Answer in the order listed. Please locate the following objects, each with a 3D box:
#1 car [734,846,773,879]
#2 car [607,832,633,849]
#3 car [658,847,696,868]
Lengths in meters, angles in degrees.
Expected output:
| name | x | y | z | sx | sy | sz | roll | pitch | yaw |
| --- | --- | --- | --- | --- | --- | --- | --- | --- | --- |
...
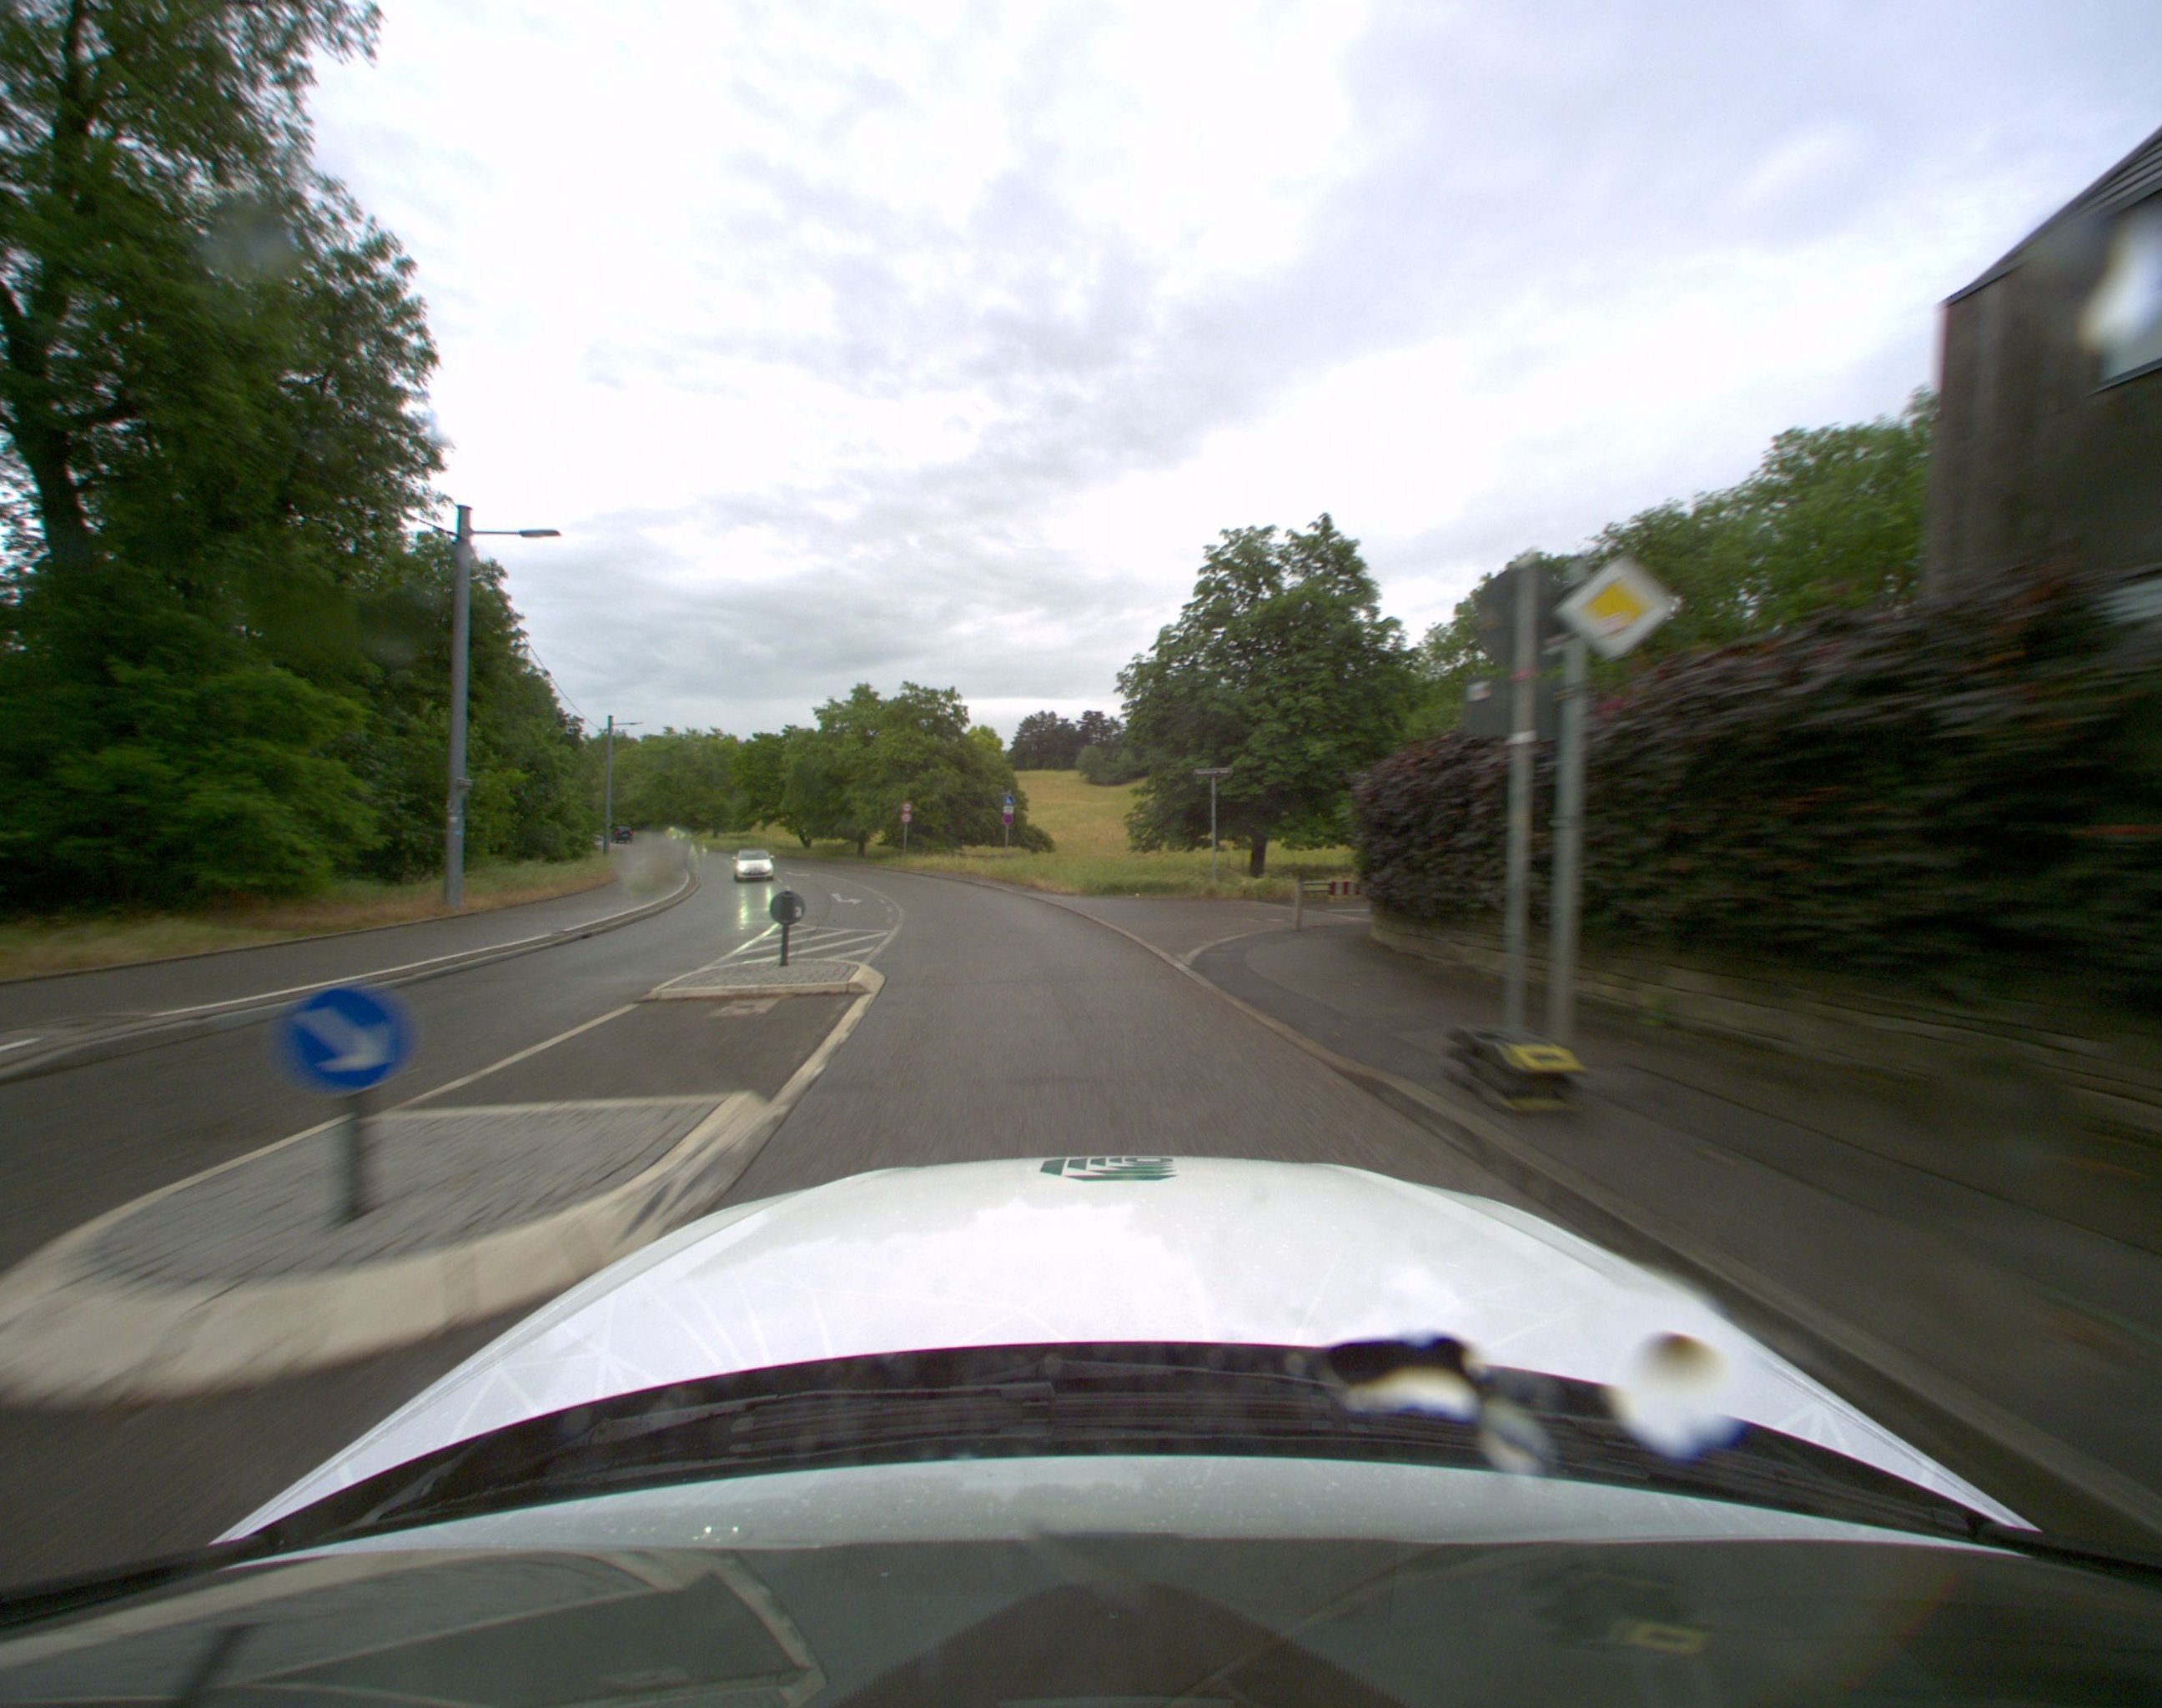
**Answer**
| name | x | y | z | sx | sy | sz | roll | pitch | yaw |
| --- | --- | --- | --- | --- | --- | --- | --- | --- | --- |
| car | -15.386 | 0.374 | 38.209 | 1.573 | 1.477 | 3.639 | -1 | 0 | -23 |
| car | -51.512 | -1.558 | 90.903 | 1.756 | 1.716 | 3.954 | 2 | 1 | -41 |
| car | -30.946 | 0.235 | 62.284 | 1.861 | 1.501 | 4.580 | -3 | 2 | -36 |
